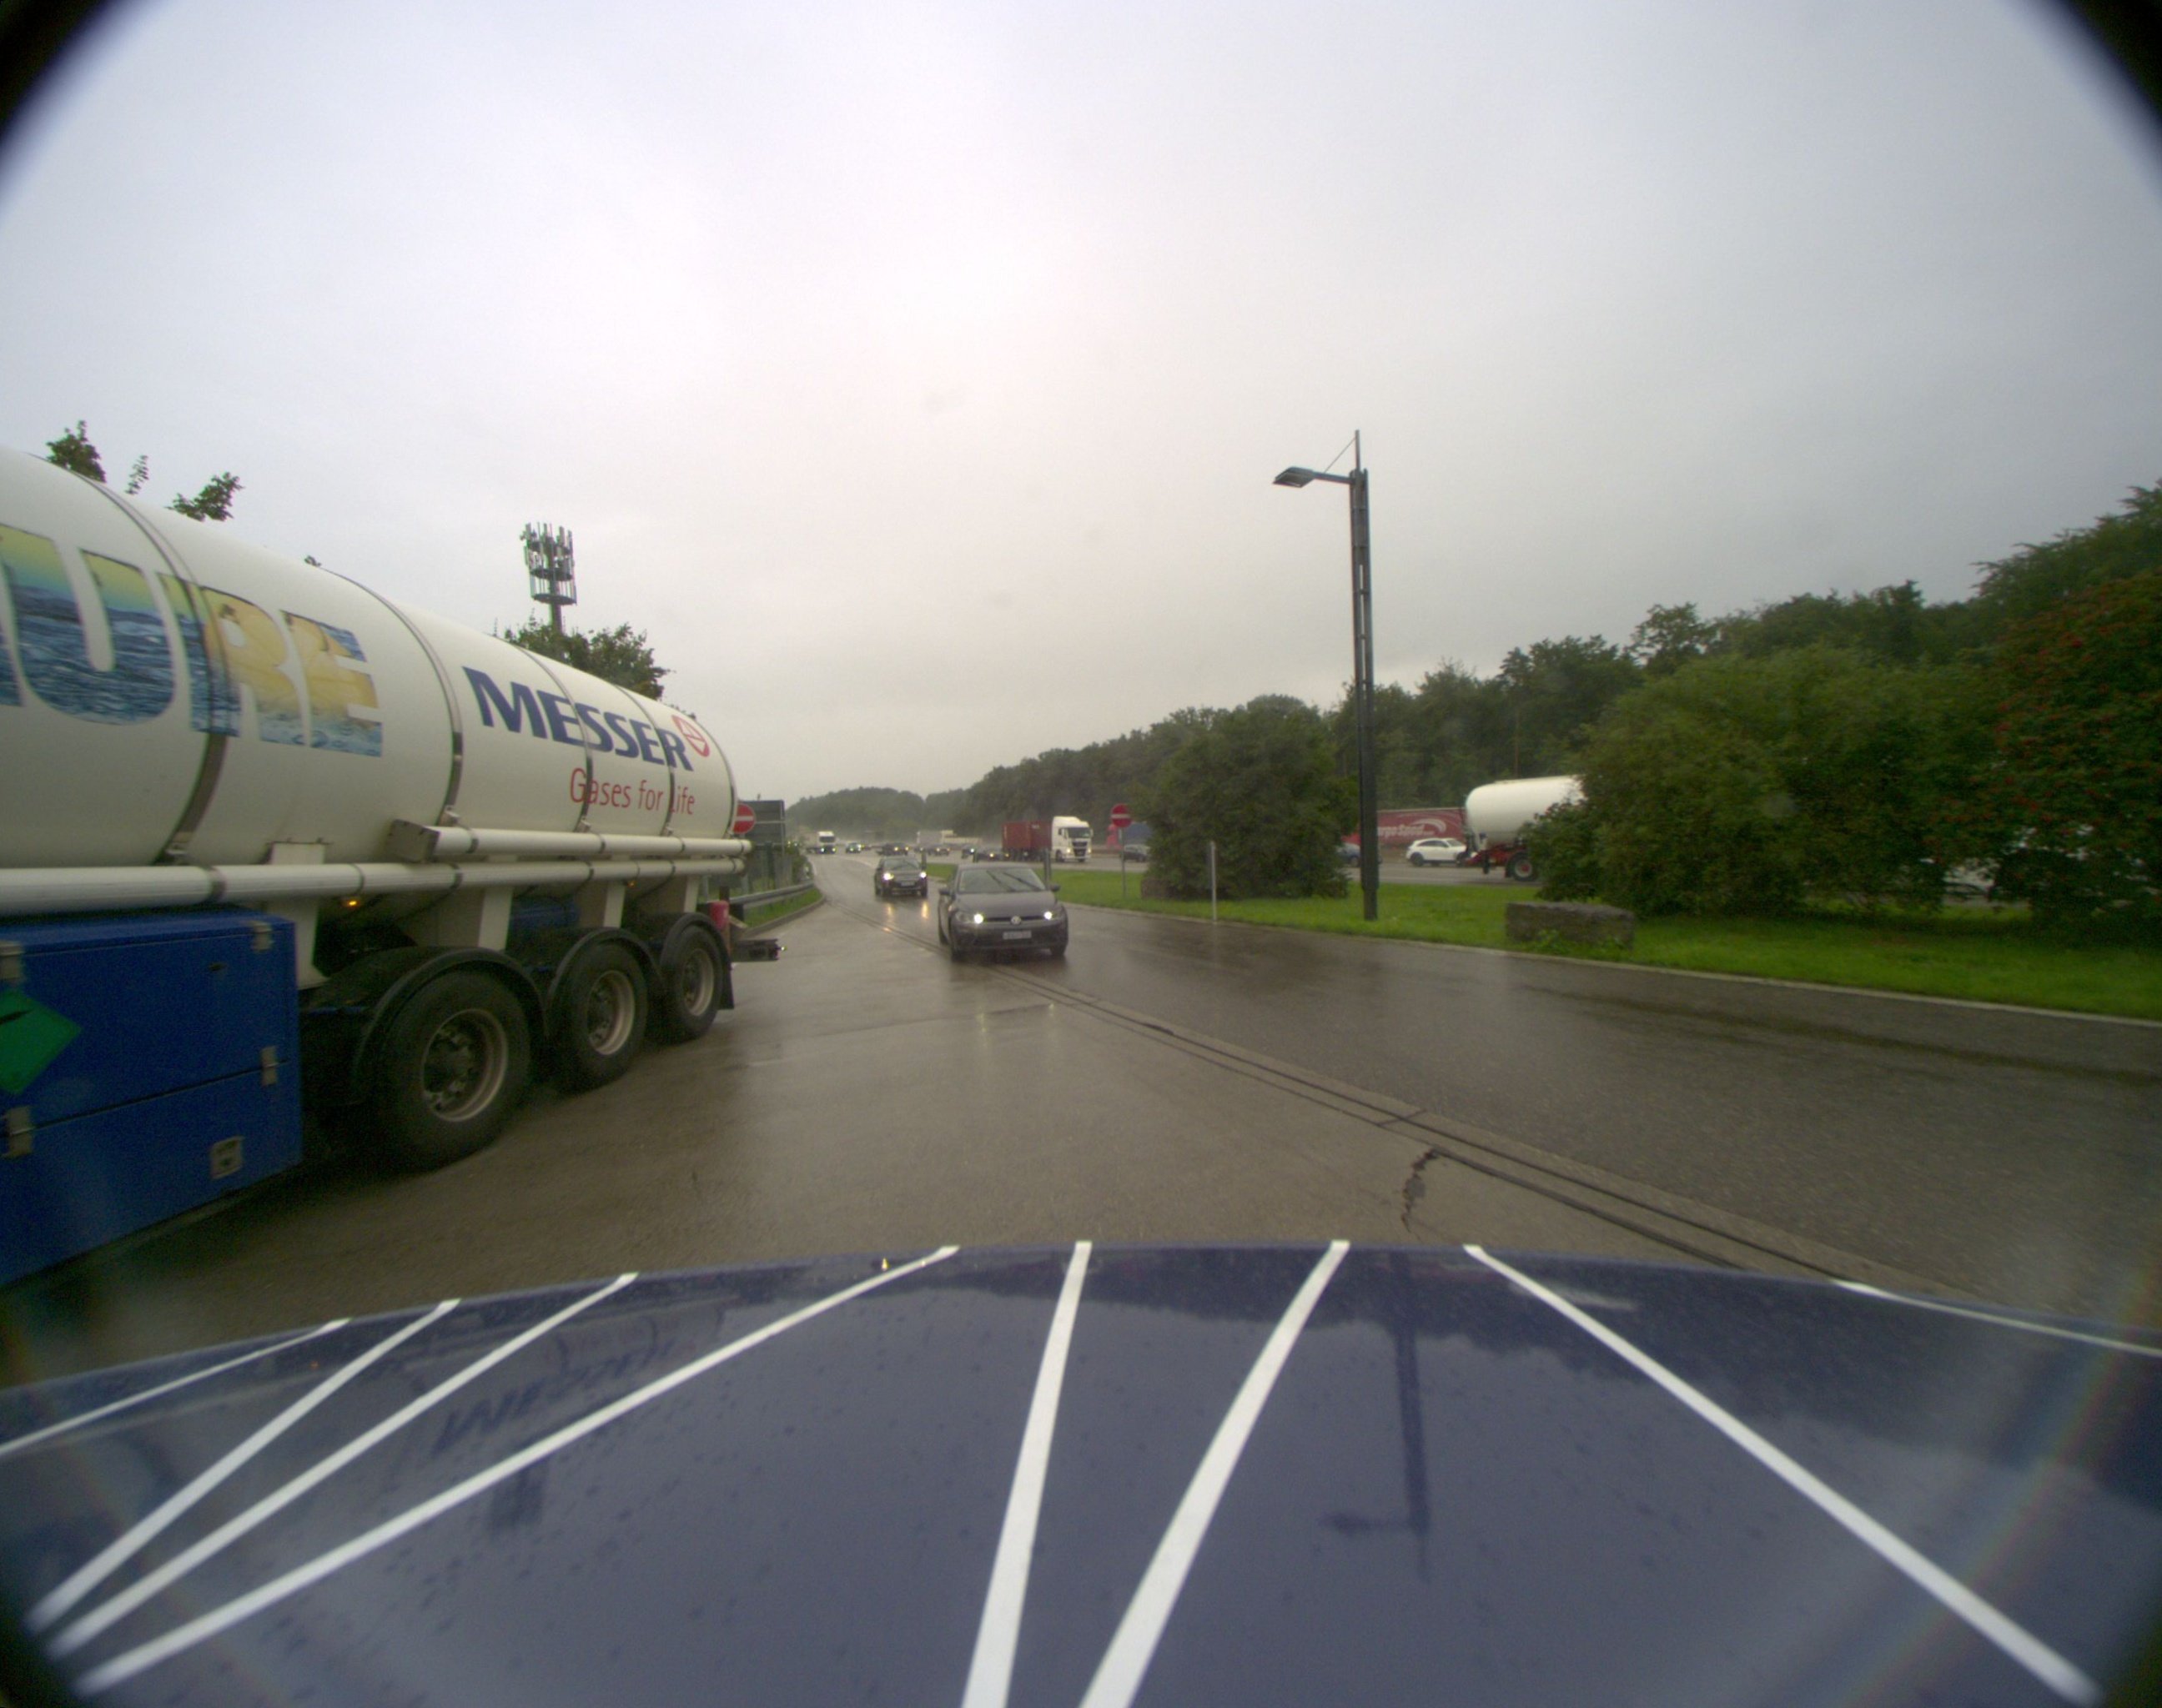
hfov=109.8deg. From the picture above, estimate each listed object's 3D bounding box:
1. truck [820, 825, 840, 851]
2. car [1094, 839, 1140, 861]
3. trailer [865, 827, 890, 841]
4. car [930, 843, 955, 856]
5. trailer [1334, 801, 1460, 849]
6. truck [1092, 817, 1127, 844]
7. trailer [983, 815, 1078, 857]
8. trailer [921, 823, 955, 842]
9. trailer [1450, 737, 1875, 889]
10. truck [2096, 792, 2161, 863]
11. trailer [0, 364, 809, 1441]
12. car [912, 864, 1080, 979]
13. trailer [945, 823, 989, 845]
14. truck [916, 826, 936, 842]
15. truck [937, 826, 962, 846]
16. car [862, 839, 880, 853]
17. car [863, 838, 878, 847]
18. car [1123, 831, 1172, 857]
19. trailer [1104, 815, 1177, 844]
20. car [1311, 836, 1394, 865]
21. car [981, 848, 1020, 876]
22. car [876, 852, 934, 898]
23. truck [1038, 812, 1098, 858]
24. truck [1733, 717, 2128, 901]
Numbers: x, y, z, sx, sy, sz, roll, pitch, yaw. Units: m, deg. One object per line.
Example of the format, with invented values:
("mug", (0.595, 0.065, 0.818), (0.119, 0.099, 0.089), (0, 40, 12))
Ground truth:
("truck", (-43.454, -2.726, 131.500), (2.601, 4.122, 5.219), (-6, 3, -23))
("car", (3.679, -0.482, 78.971), (2.002, 2.003, 5.566), (-7, 5, -30))
("trailer", (-59.910, -5.791, 223.606), (3.042, 3.791, 13.375), (-5, 3, -33))
("car", (-19.001, -0.586, 104.209), (1.791, 1.550, 4.088), (-3, 0, -33))
("trailer", (27.843, -2.449, 67.657), (2.467, 3.594, 10.715), (-7, 3, -32))
("truck", (4.038, -3.324, 108.290), (2.200, 3.491, 5.155), (-7, 4, -32))
("trailer", (-5.277, -1.719, 73.459), (2.695, 3.487, 15.087), (-6, 4, -29))
("trailer", (-32.894, -4.908, 174.436), (2.736, 3.519, 14.027), (-8, 3, -31))
("trailer", (18.355, -1.132, 25.443), (2.776, 4.003, 11.013), (-1, 1, -32))
("truck", (46.961, -1.130, 29.507), (2.258, 2.934, 8.921), (-2, 1, -33))
("trailer", (-4.224, 0.134, 3.722), (1.985, 3.206, 10.319), (-3, 1, 0))
("car", (-1.574, 0.938, 12.476), (1.673, 1.395, 4.253), (-2, 1, -21))
("trailer", (-22.228, -3.788, 146.859), (2.626, 3.660, 14.637), (-7, 3, -31))
("truck", (-37.034, -4.756, 181.371), (2.726, 3.515, 4.751), (-8, 3, -32))
("truck", (-26.690, -3.660, 154.222), (2.634, 3.650, 5.978), (-7, 3, -31))
("car", (-36.353, -1.391, 131.378), (1.920, 2.004, 3.989), (-9, 7, -26))
("car", (-43.602, -2.299, 157.424), (2.003, 1.802, 3.990), (-2, 1, -30))
("car", (5.432, -0.811, 62.578), (2.003, 2.002, 4.102), (-3, 2, -30))
("trailer", (7.762, -3.234, 102.330), (2.199, 3.479, 13.099), (-7, 4, -32))
("car", (16.023, -0.191, 45.084), (1.827, 1.659, 4.394), (-1, 0, -33))
("car", (-7.307, 0.683, 68.263), (1.920, 2.004, 3.989), (-9, 7, -27))
("car", (-7.464, 0.805, 31.966), (1.812, 1.533, 3.992), (-6, 4, -19))
("truck", (-1.193, -1.651, 66.159), (2.701, 3.637, 5.312), (-6, 4, -29))
("truck", (21.760, -1.054, 19.950), (2.763, 3.986, 6.491), (-3, 2, -32))
